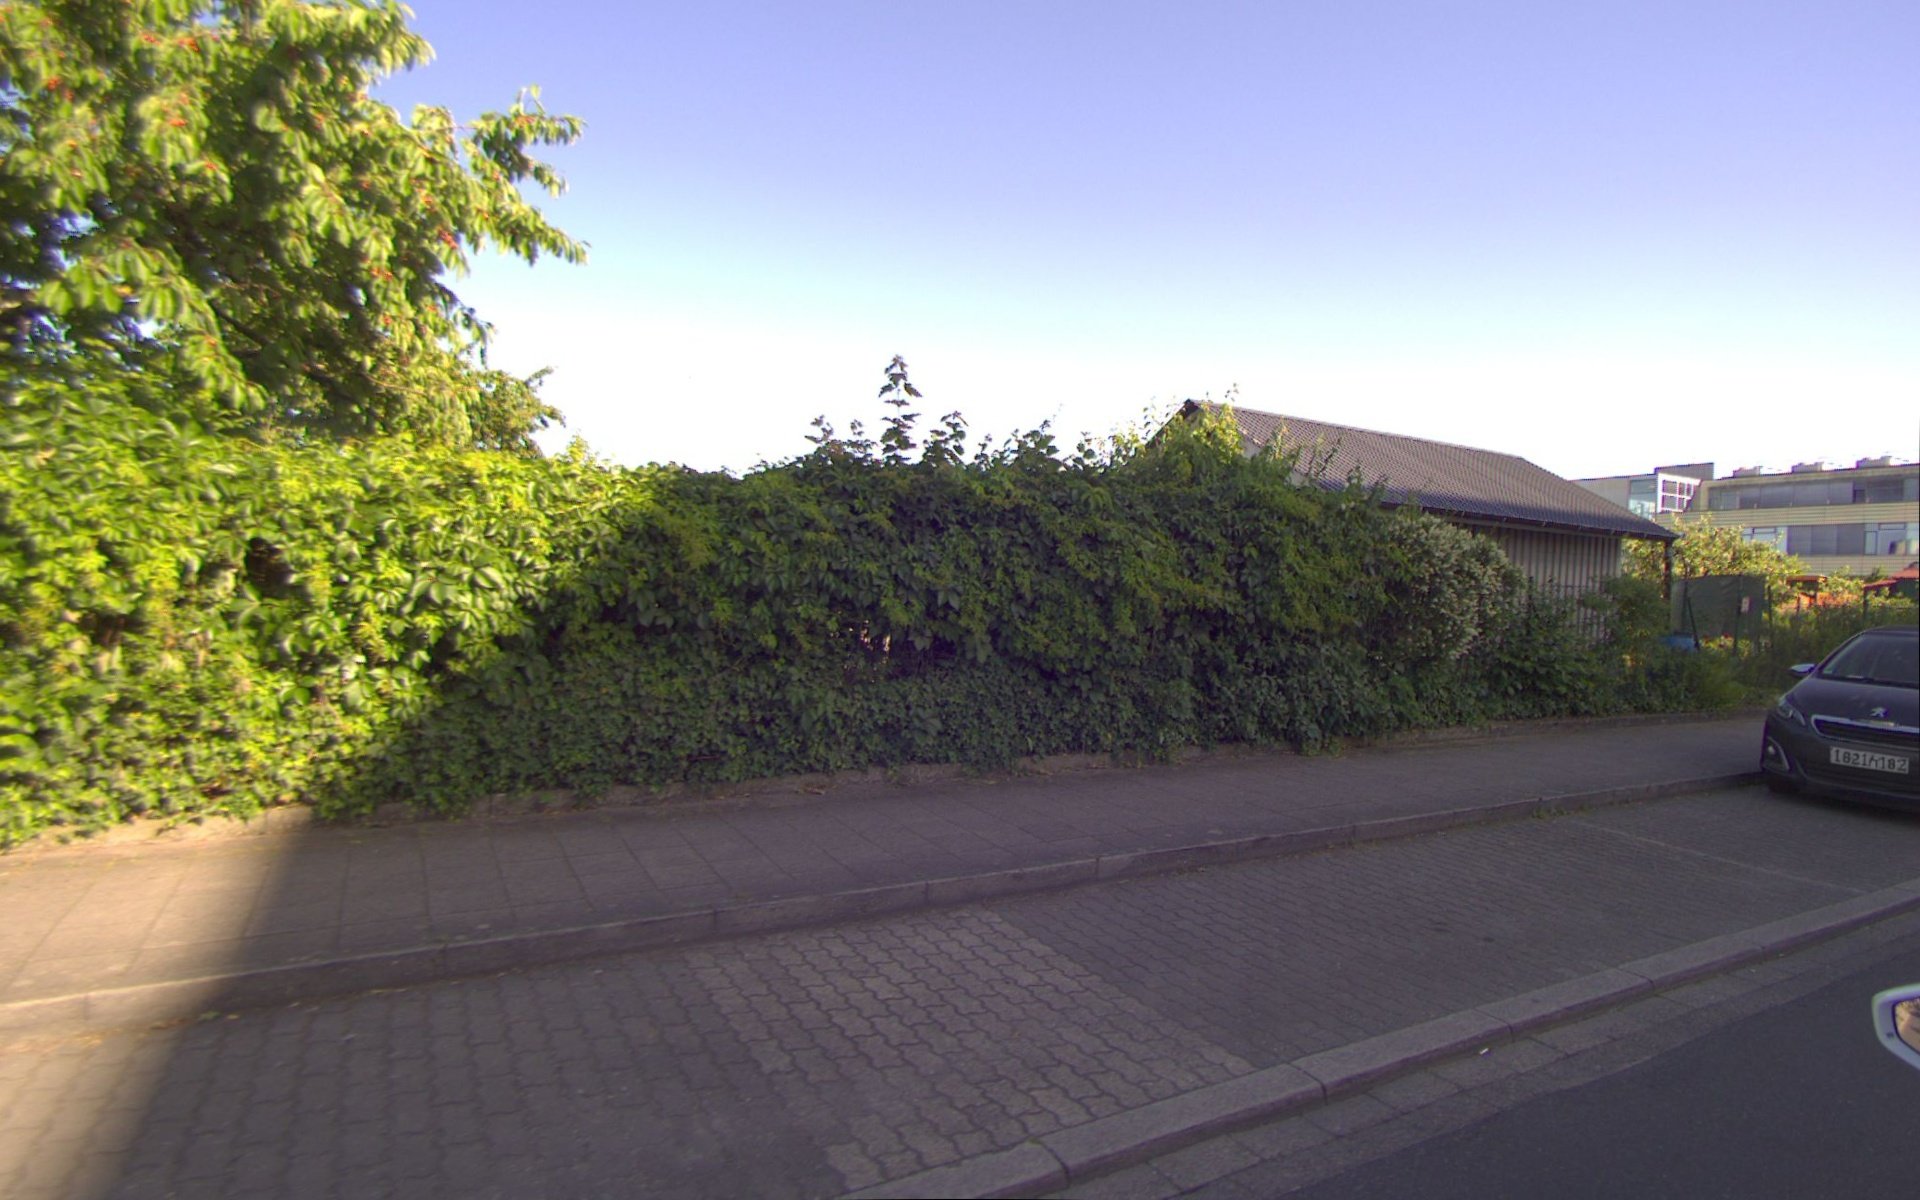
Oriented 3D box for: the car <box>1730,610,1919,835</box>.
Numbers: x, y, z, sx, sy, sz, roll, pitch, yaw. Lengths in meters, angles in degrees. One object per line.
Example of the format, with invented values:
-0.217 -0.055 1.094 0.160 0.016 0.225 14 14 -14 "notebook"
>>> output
8.188 0.927 8.334 3.528 1.515 1.552 1 3 -30 "car"
